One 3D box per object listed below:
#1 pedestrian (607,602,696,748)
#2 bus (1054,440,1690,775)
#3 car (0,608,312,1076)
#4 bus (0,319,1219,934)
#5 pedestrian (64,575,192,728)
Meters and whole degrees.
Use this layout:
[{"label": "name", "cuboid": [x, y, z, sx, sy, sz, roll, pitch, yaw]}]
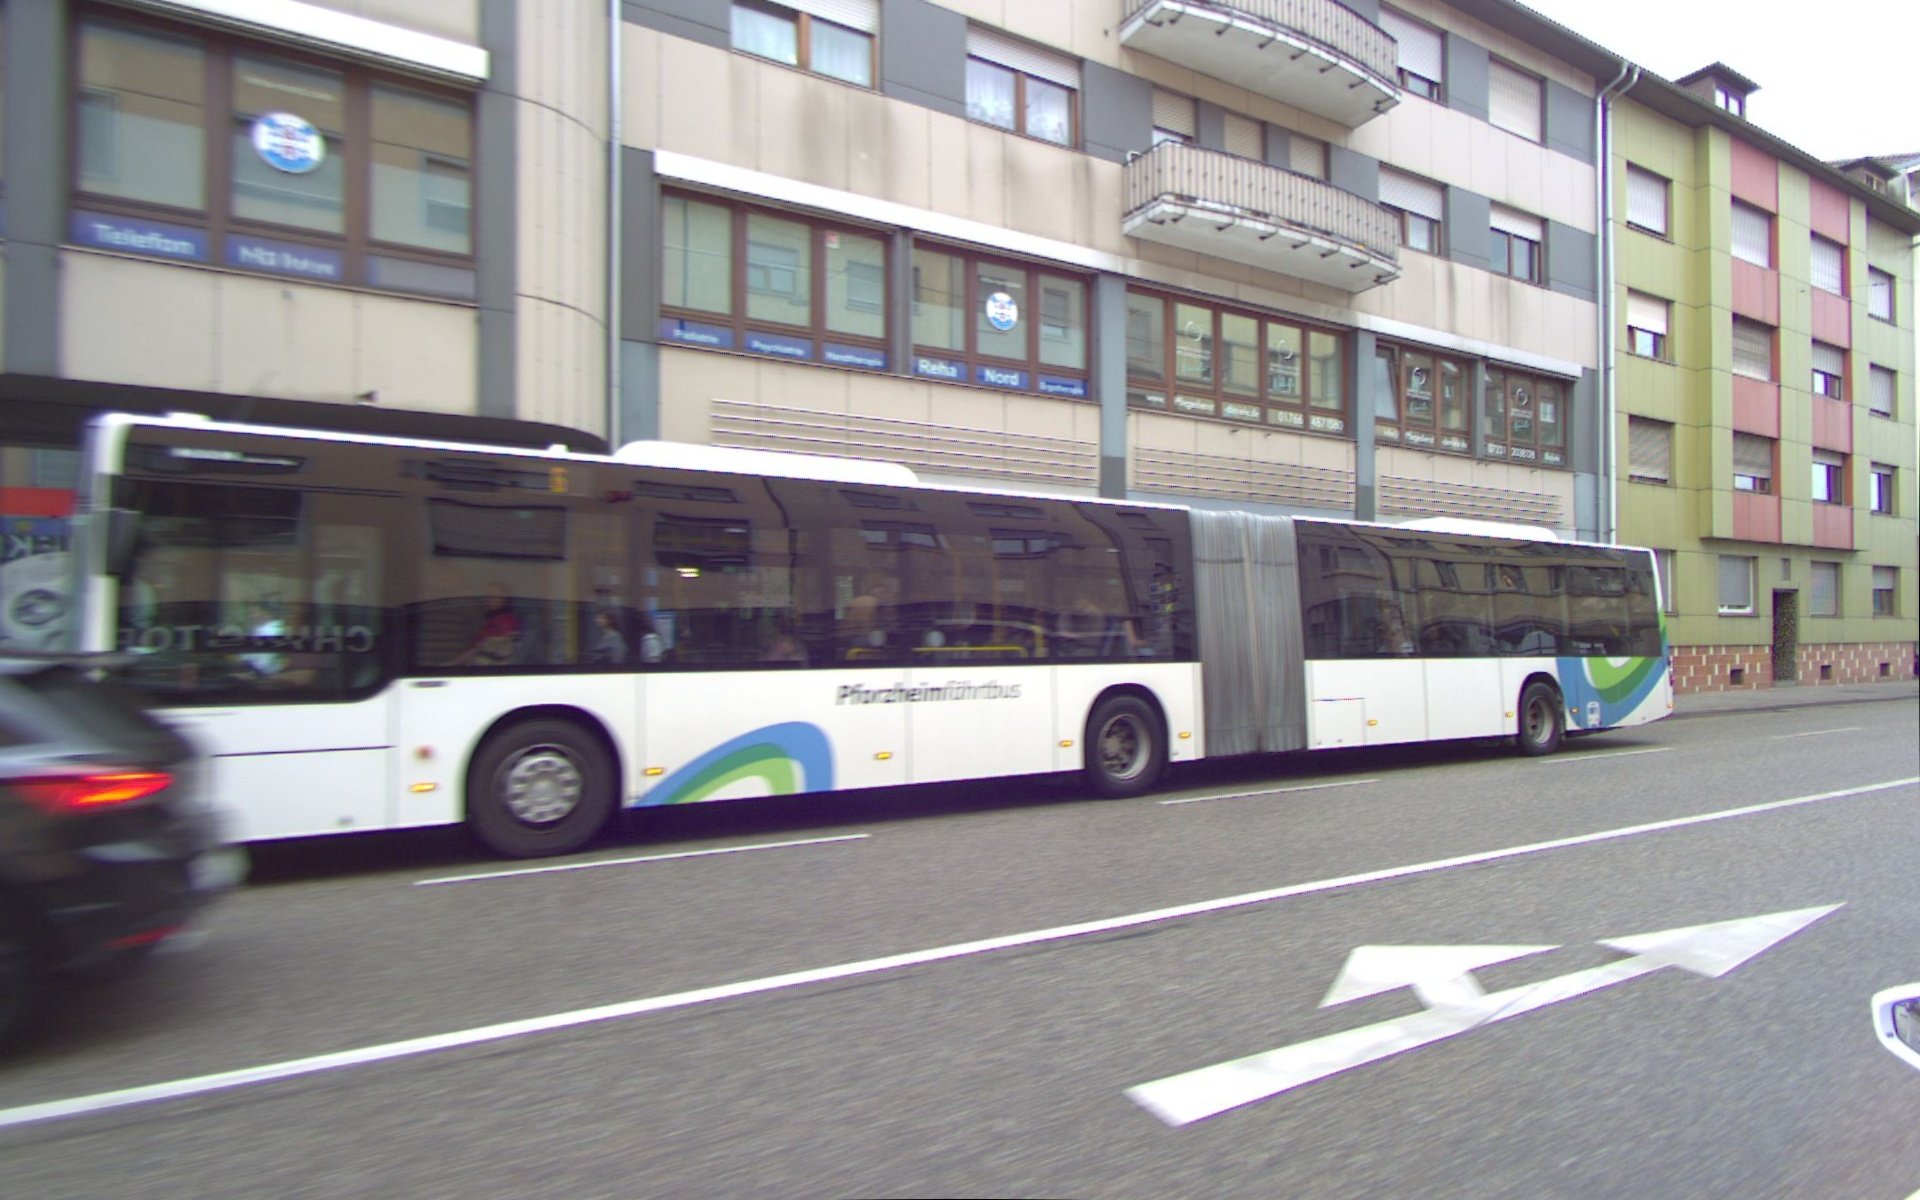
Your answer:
[{"label": "pedestrian", "cuboid": [-3.592, 0.849, 11.672, 0.824, 1.610, 0.942, 1, -2, -27]}, {"label": "bus", "cuboid": [5.753, 0.222, 13.186, 9.183, 3.230, 2.713, 2, -2, -30]}, {"label": "car", "cuboid": [-4.563, 0.753, 3.238, 4.039, 1.470, 1.700, 2, -2, -31]}, {"label": "bus", "cuboid": [-1.985, 0.282, 8.649, 8.806, 3.230, 2.746, 2, -2, -30]}, {"label": "pedestrian", "cuboid": [-8.105, 0.497, 9.827, 0.777, 1.414, 0.765, 1, -2, -27]}]
